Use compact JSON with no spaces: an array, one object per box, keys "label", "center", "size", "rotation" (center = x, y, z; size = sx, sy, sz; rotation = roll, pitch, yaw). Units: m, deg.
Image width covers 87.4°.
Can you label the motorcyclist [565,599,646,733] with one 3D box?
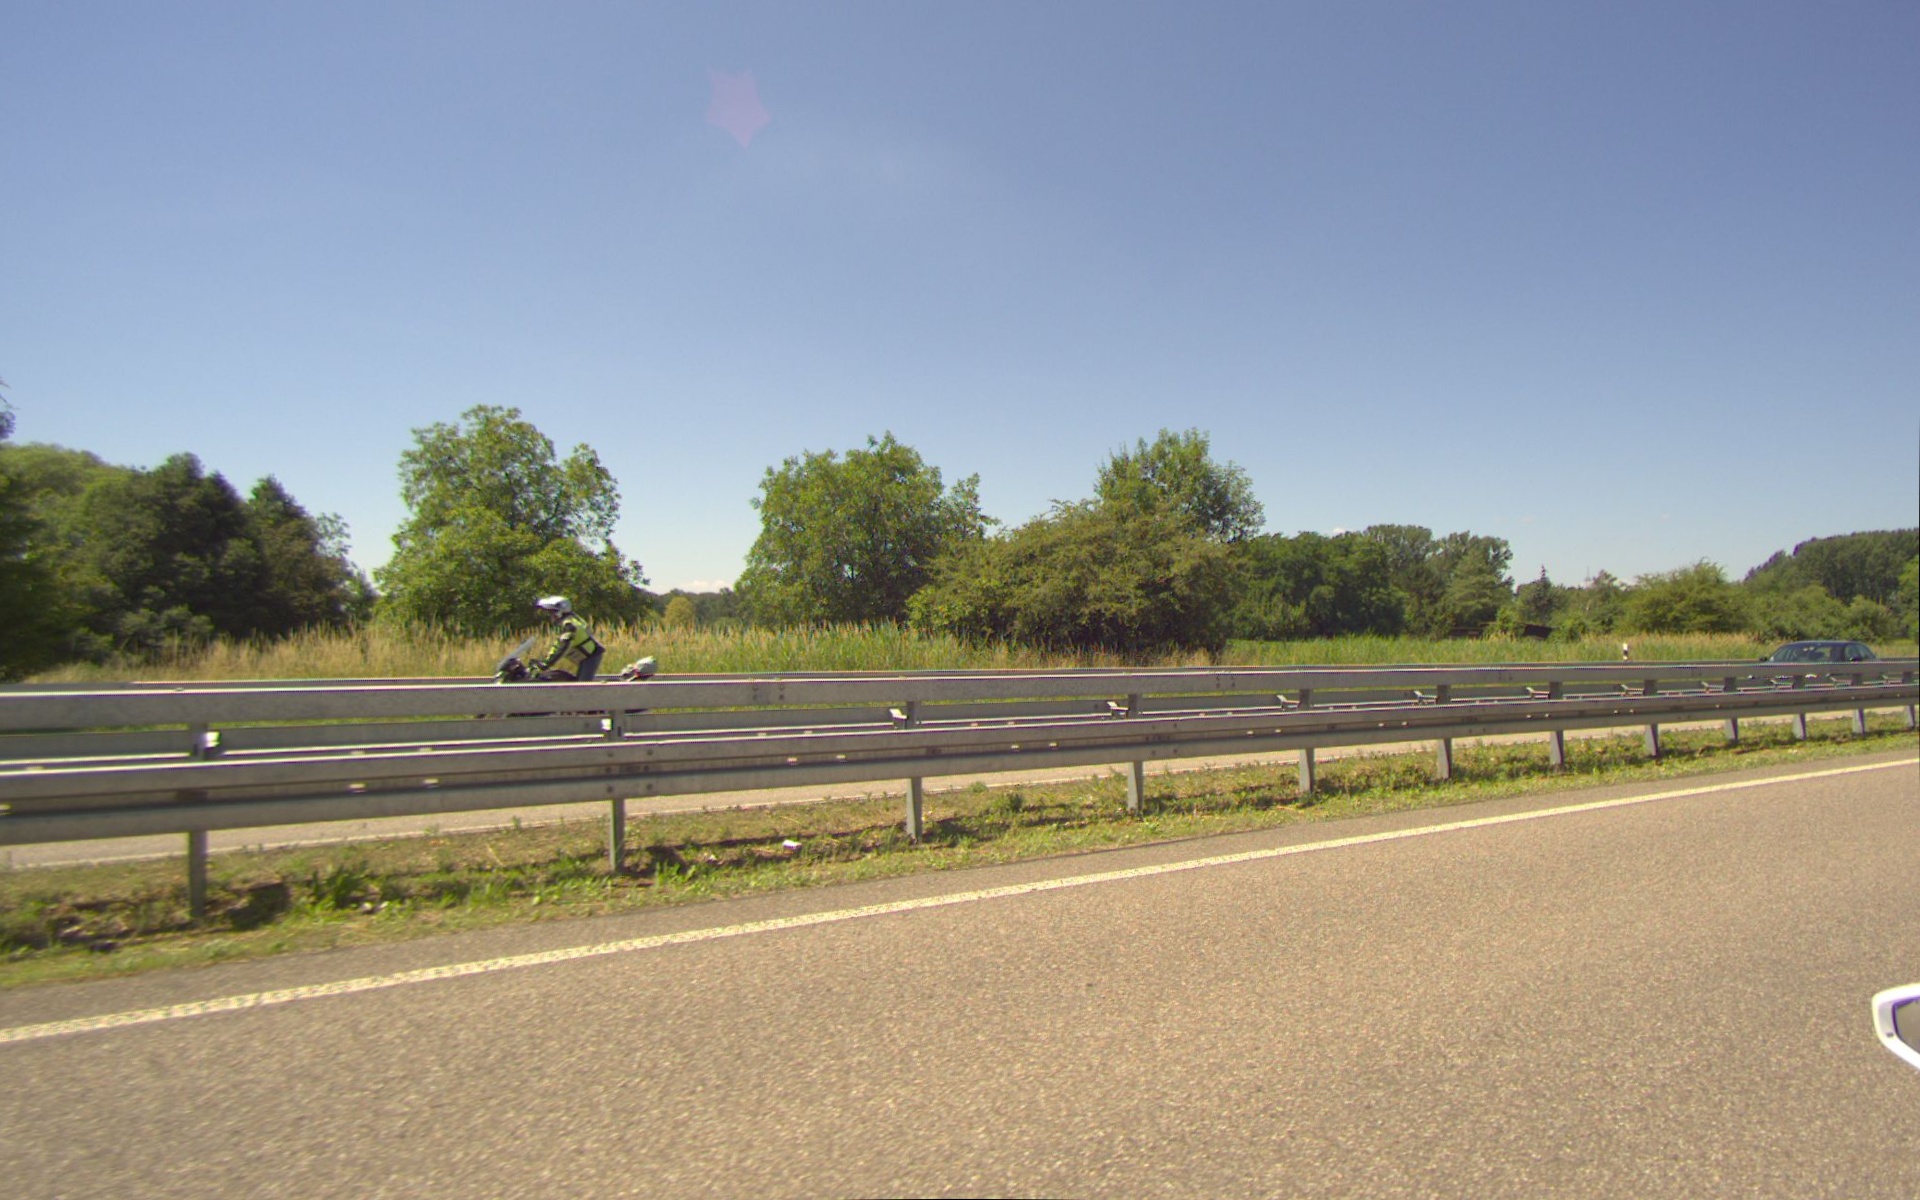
[{"label":"motorcyclist","center":[-4.559,0.831,12.887],"size":[0.800,1.638,0.940],"rotation":[1,-2,-31]}]

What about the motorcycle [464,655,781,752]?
[{"label":"motorcycle","center":[-4.315,1.281,13.078],"size":[3.773,1.078,1.058],"rotation":[2,-2,-30]}]

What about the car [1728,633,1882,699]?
[{"label":"car","center":[19.224,1.465,22.833],"size":[3.494,1.350,1.620],"rotation":[1,-1,-30]}]
